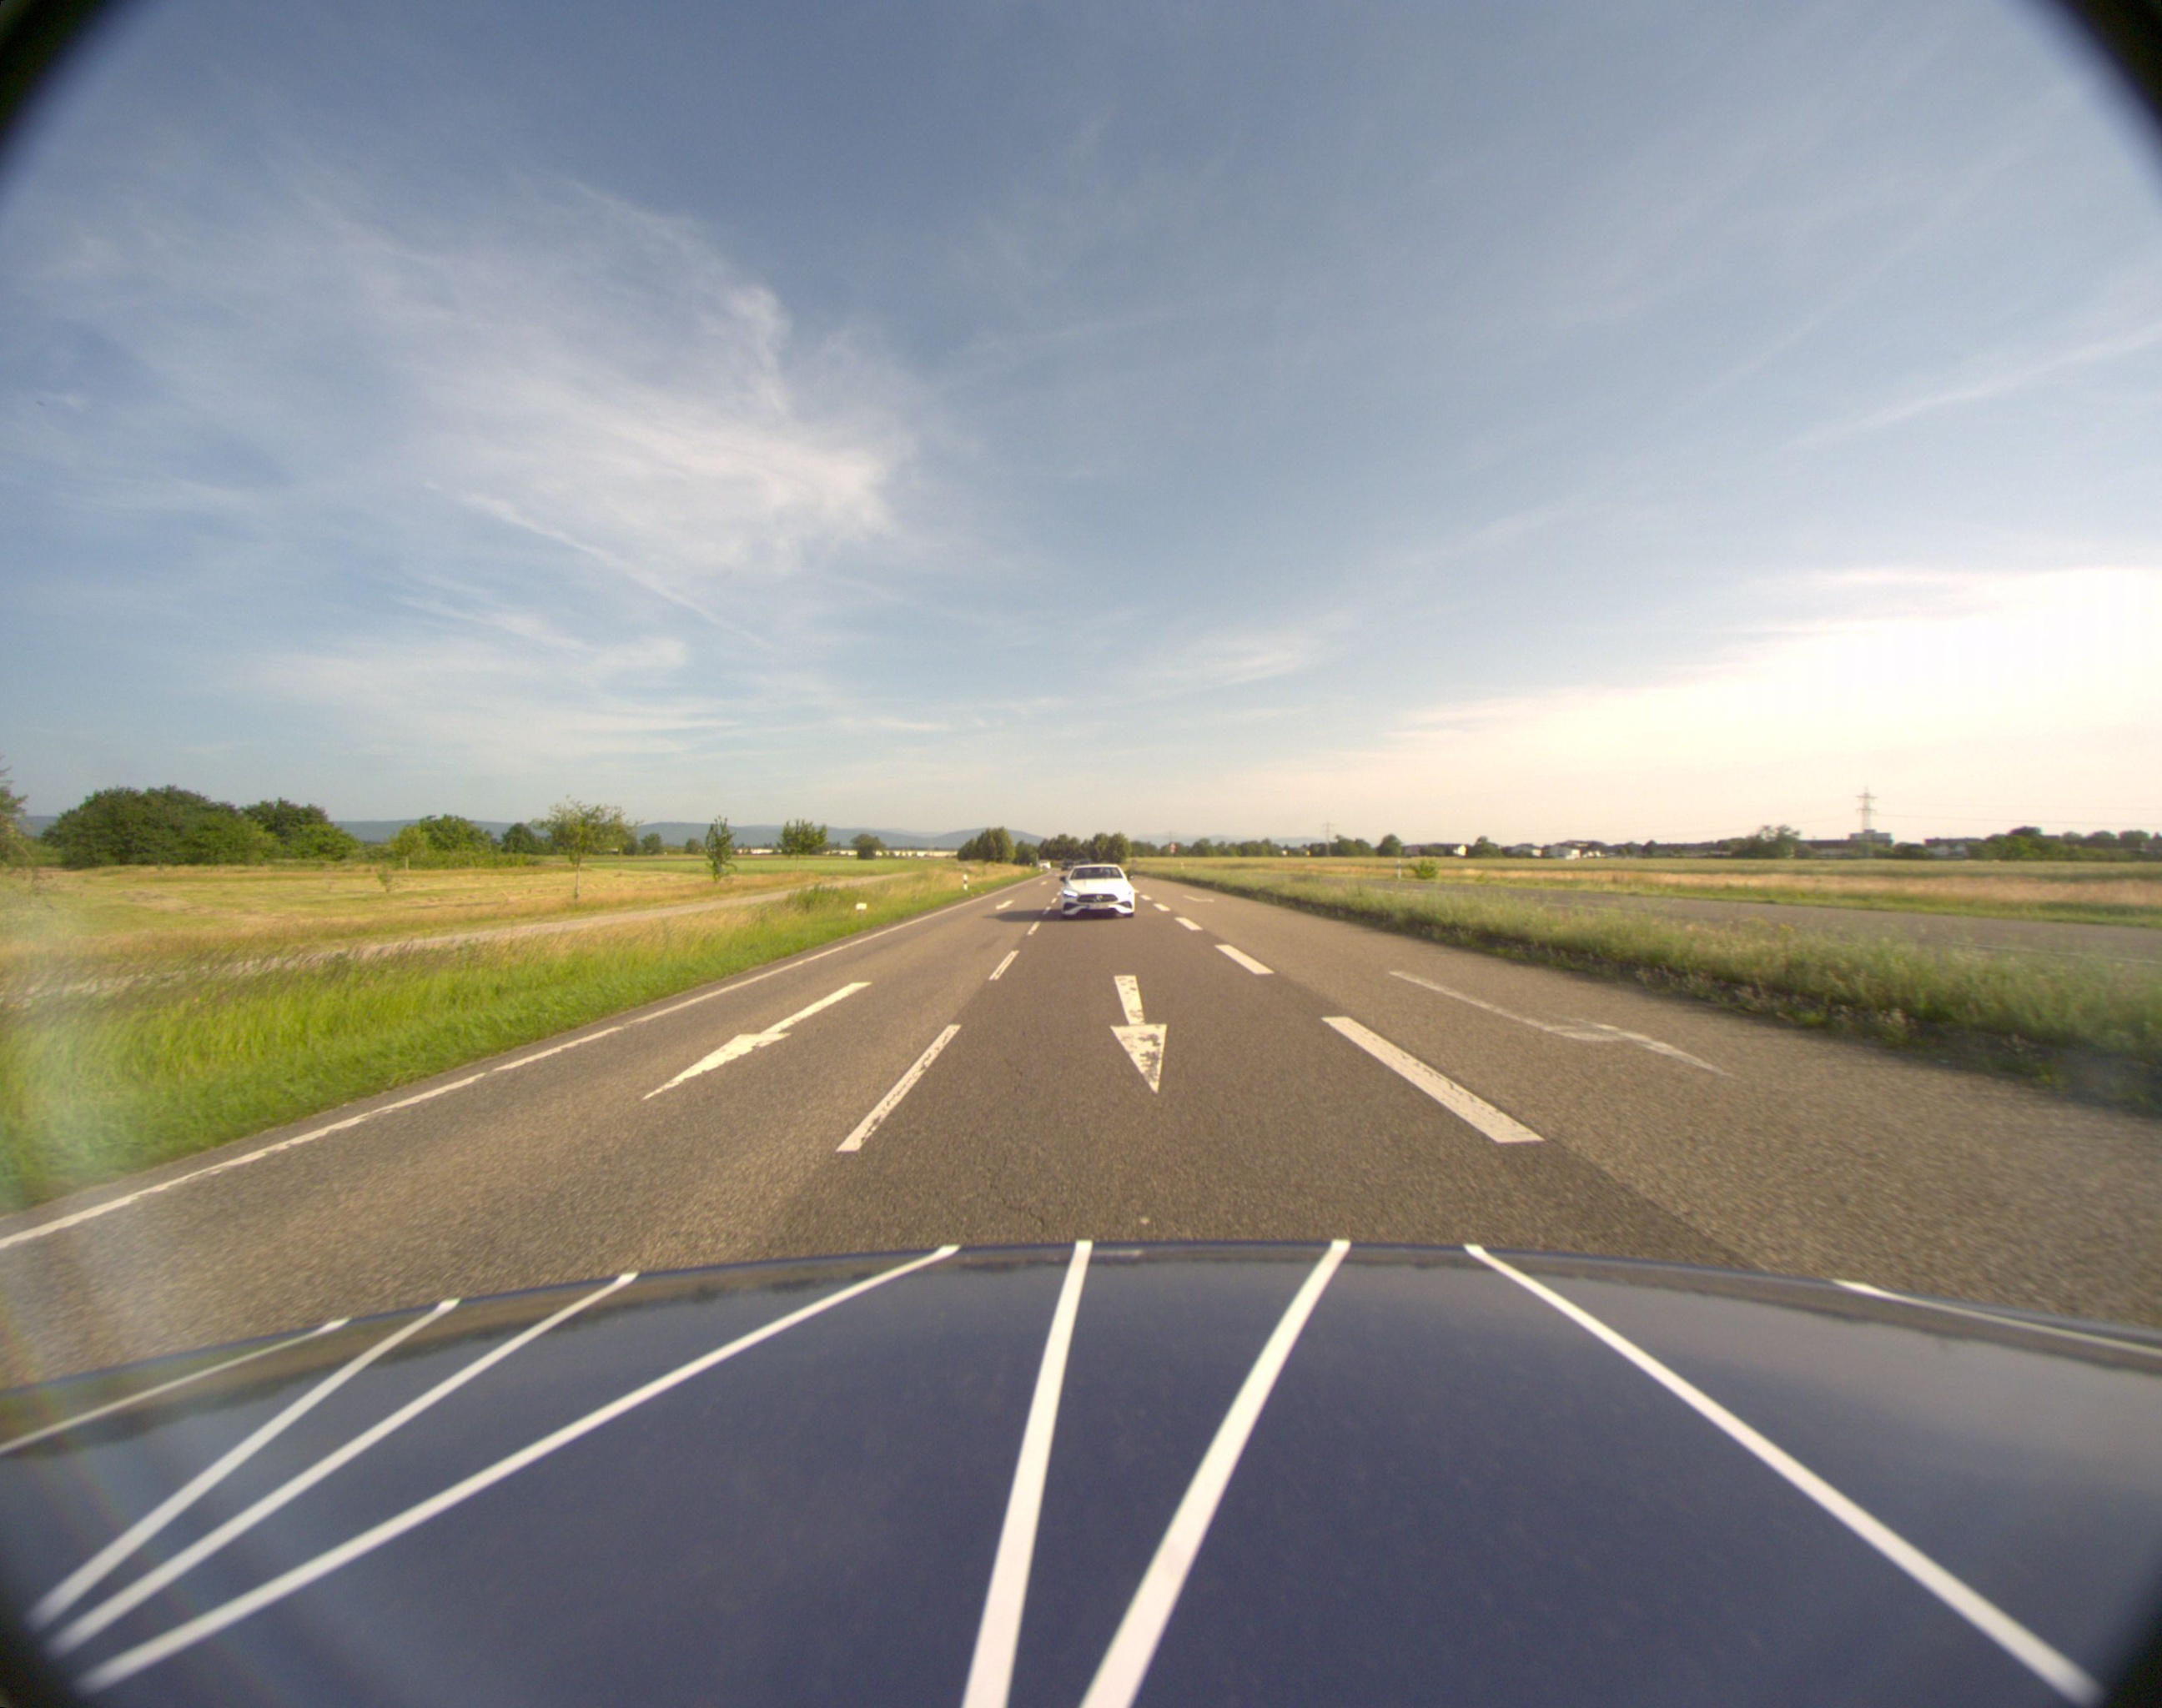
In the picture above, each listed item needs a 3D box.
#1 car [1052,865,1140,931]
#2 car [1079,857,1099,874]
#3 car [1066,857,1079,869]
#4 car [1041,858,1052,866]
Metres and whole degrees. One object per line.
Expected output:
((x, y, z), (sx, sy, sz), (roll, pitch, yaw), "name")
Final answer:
((0.446, 1.031, 19.246), (1.940, 1.389, 3.919), (-2, 0, 3), "car")
((0.699, 0.993, 67.738), (1.584, 1.496, 3.662), (-1, 0, 3), "car")
((-1.175, 1.206, 104.838), (1.556, 1.550, 3.050), (-1, 0, 3), "car")
((-6.059, 1.400, 134.825), (1.556, 1.391, 4.036), (-1, 0, 3), "car")
